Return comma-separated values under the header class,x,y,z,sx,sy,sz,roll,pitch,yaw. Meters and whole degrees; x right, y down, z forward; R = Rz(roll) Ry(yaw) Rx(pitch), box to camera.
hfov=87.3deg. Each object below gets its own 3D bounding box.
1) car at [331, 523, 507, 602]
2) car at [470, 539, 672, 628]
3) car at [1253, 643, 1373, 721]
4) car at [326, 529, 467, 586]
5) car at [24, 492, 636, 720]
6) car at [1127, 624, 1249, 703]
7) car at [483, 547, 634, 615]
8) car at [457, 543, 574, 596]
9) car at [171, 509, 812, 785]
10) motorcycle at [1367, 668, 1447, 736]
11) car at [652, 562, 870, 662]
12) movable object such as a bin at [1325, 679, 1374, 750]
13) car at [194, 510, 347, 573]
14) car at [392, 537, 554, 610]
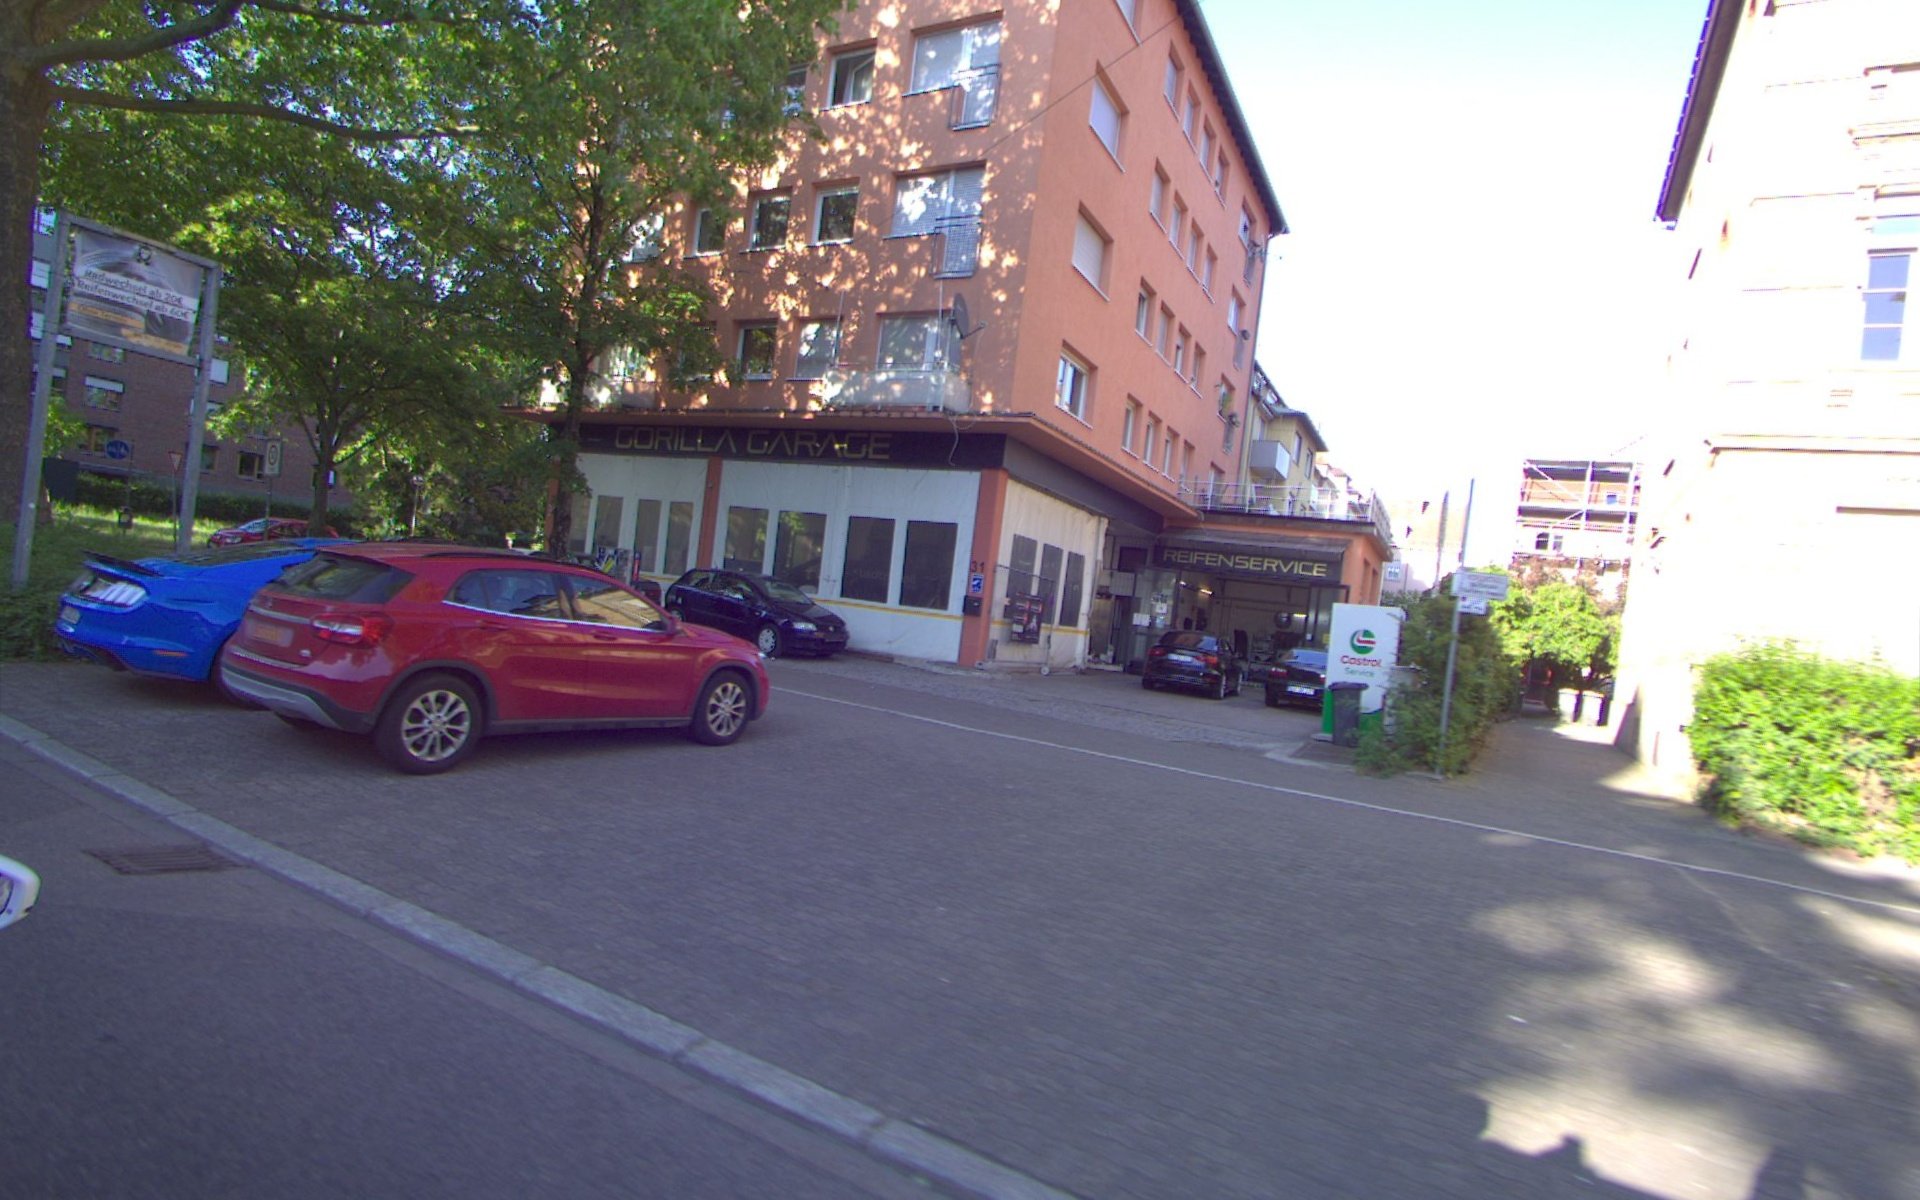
class,x,y,z,sx,sy,sz,roll,pitch,yaw
car,-14.797,-1.024,27.493,4.496,1.594,1.793,7,1,25
car,-8.664,-0.384,22.288,4.393,1.453,1.751,7,1,31
car,7.946,1.781,22.408,1.908,1.343,3.995,7,0,27
car,-19.571,-1.443,35.098,1.654,1.470,3.924,7,0,28
car,-5.499,0.161,9.370,1.790,1.562,4.402,7,0,37
car,5.280,1.429,22.943,1.907,1.407,3.998,7,0,23
car,-12.692,-0.611,31.796,4.497,1.594,1.793,7,1,27
car,-17.313,-1.162,39.359,1.654,1.601,3.924,7,0,28
car,-3.485,0.393,8.388,1.920,1.561,4.407,7,0,32
motorcycle,8.513,1.917,19.103,0.795,1.116,2.377,7,0,37
car,-3.910,0.218,19.595,3.884,1.453,1.751,7,1,31
movable object such as a bin,5.670,1.654,14.652,0.440,0.951,0.657,6,0,35
car,-21.745,-1.816,31.851,1.654,1.470,3.544,7,0,28
car,-14.450,-0.793,29.846,4.496,1.594,1.793,7,1,25
